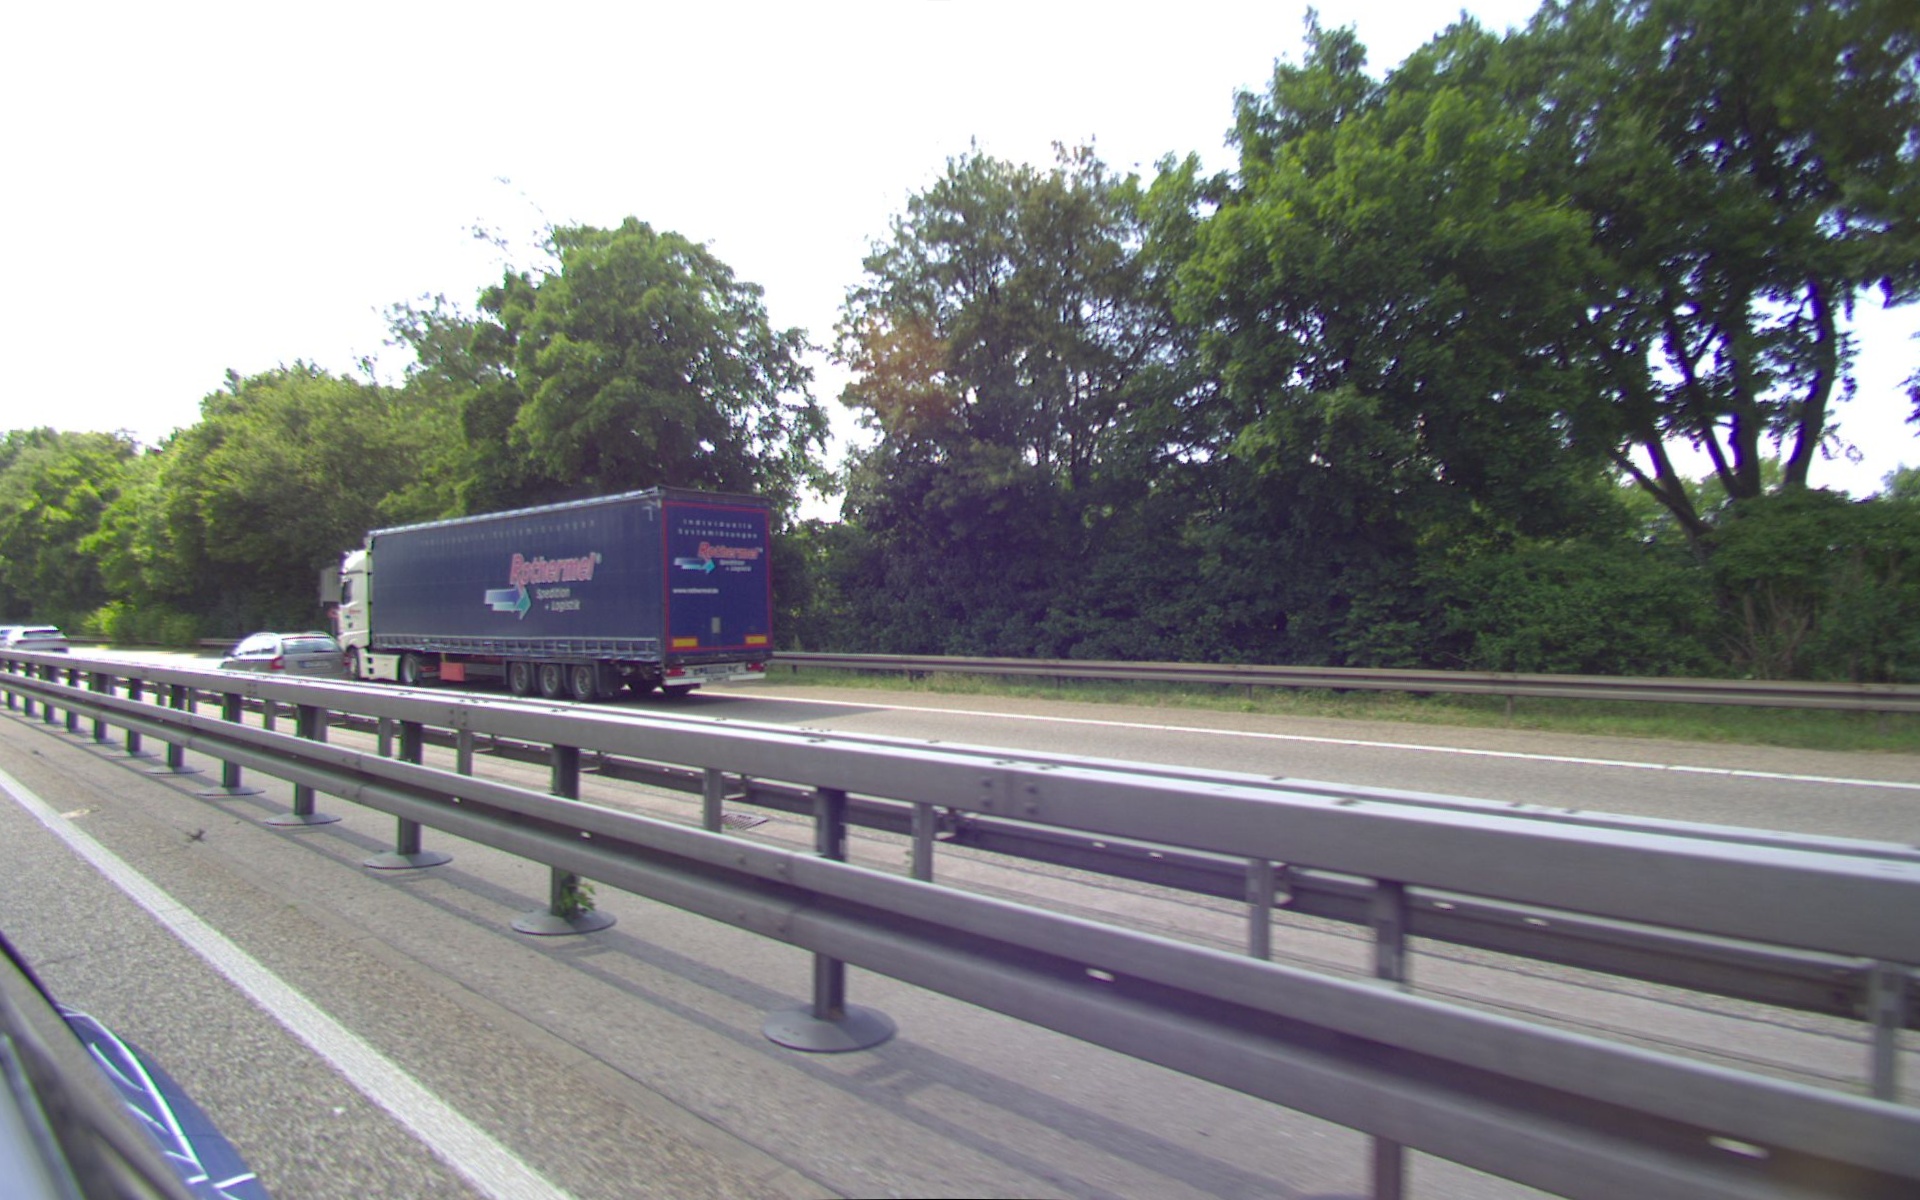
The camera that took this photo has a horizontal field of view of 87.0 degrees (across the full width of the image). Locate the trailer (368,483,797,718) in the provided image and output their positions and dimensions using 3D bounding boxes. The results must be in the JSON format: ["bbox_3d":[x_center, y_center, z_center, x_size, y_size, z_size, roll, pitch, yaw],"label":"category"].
[{"bbox_3d":[-9.269,0.054,23.184,12.971,4.110,3.369,-1,0,41],"label":"trailer"}]

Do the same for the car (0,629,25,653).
[{"bbox_3d":[-62.939,2.658,66.448,3.991,1.527,1.836,-2,-2,41],"label":"car"}]

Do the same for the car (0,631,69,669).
[{"bbox_3d":[-39.270,2.086,42.825,3.991,1.527,1.836,-2,-2,41],"label":"car"}]

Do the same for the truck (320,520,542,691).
[{"bbox_3d":[-14.550,0.139,27.702,6.126,4.128,3.340,-1,0,41],"label":"truck"}]

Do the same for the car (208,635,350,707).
[{"bbox_3d":[-15.406,1.527,22.822,4.006,1.456,1.645,-2,-2,41],"label":"car"}]
